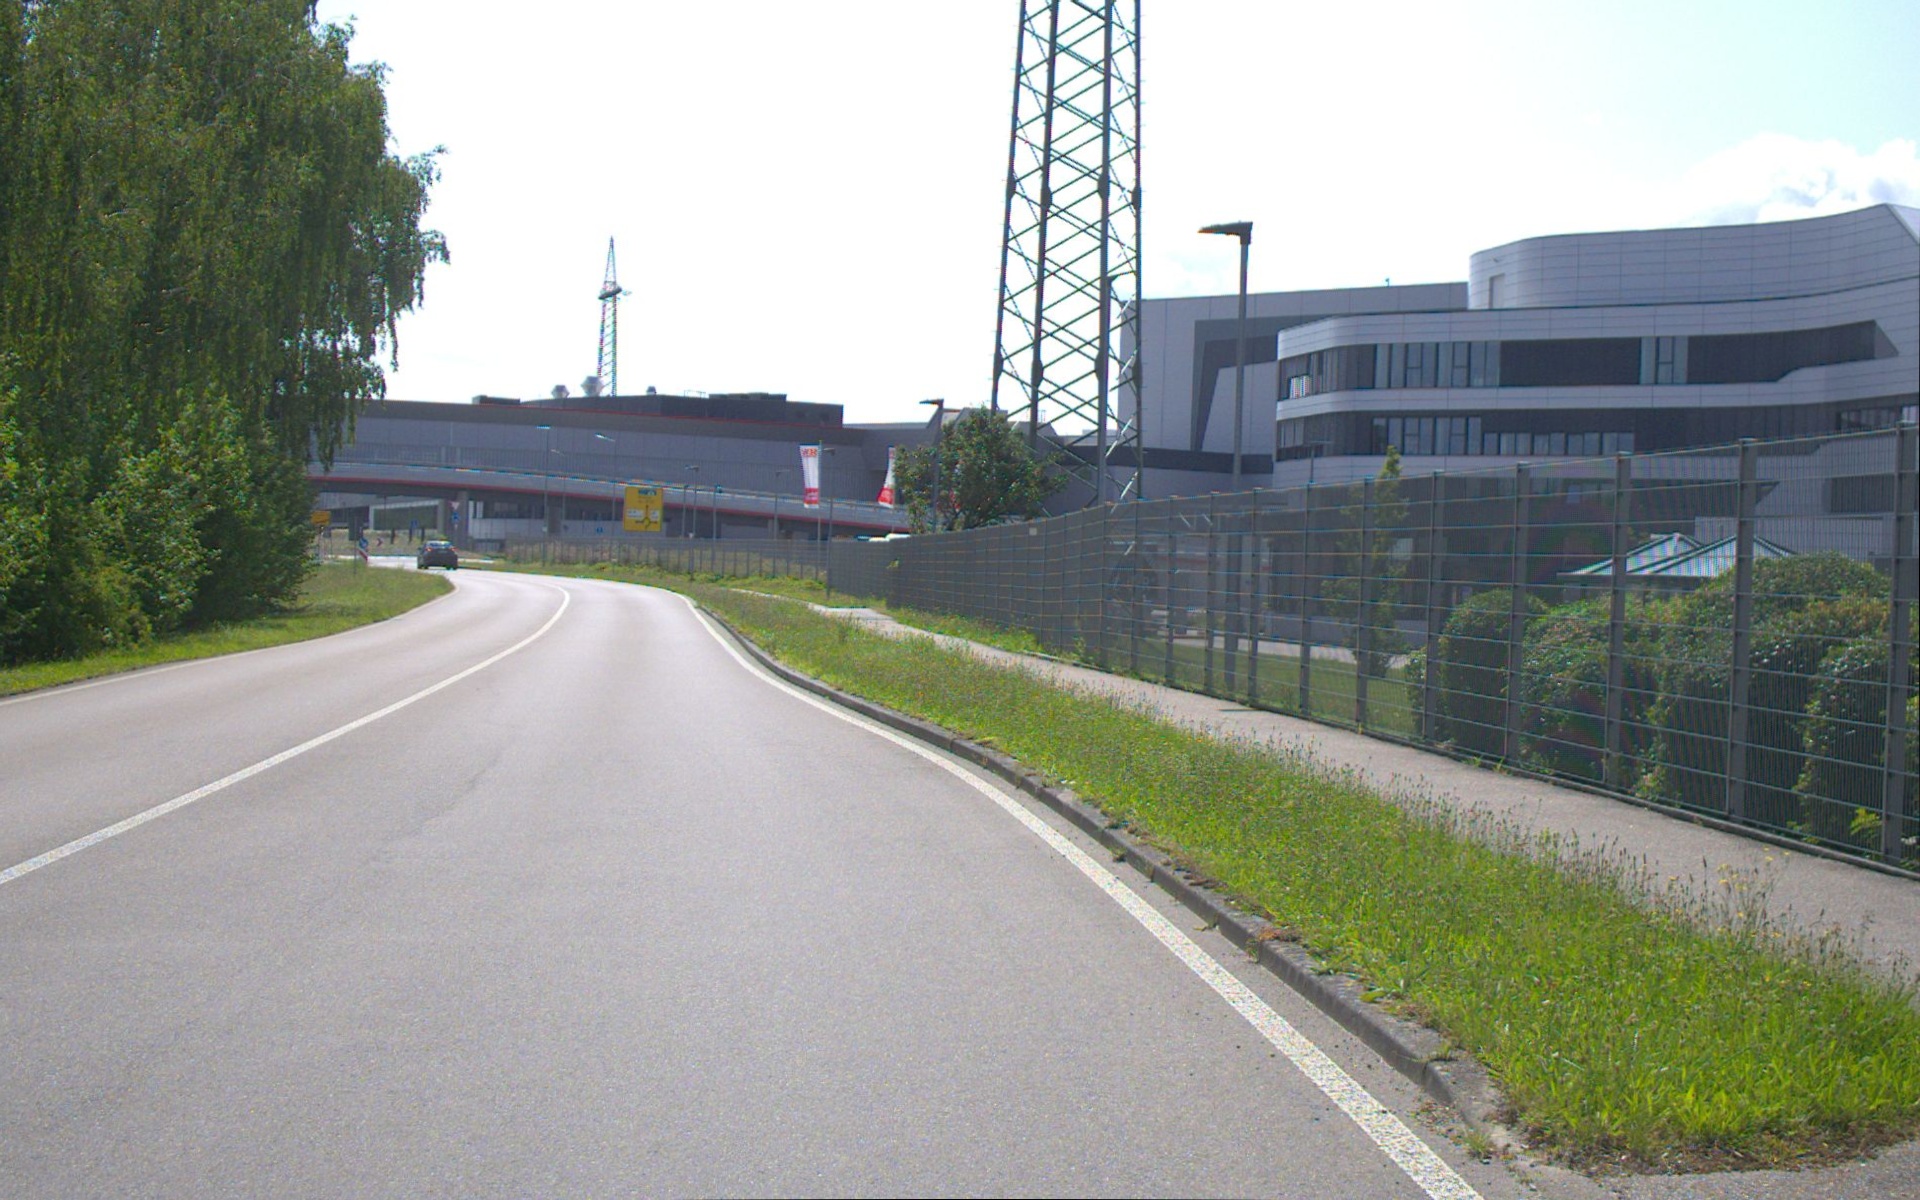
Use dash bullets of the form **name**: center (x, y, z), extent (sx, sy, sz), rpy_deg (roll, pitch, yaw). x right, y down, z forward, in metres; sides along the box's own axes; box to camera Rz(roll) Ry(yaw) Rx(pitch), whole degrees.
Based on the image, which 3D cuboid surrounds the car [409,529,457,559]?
- **car**: center (-28.497, -3.034, 185.984), extent (2.011, 1.503, 4.001), rpy_deg (3, 1, -16)
